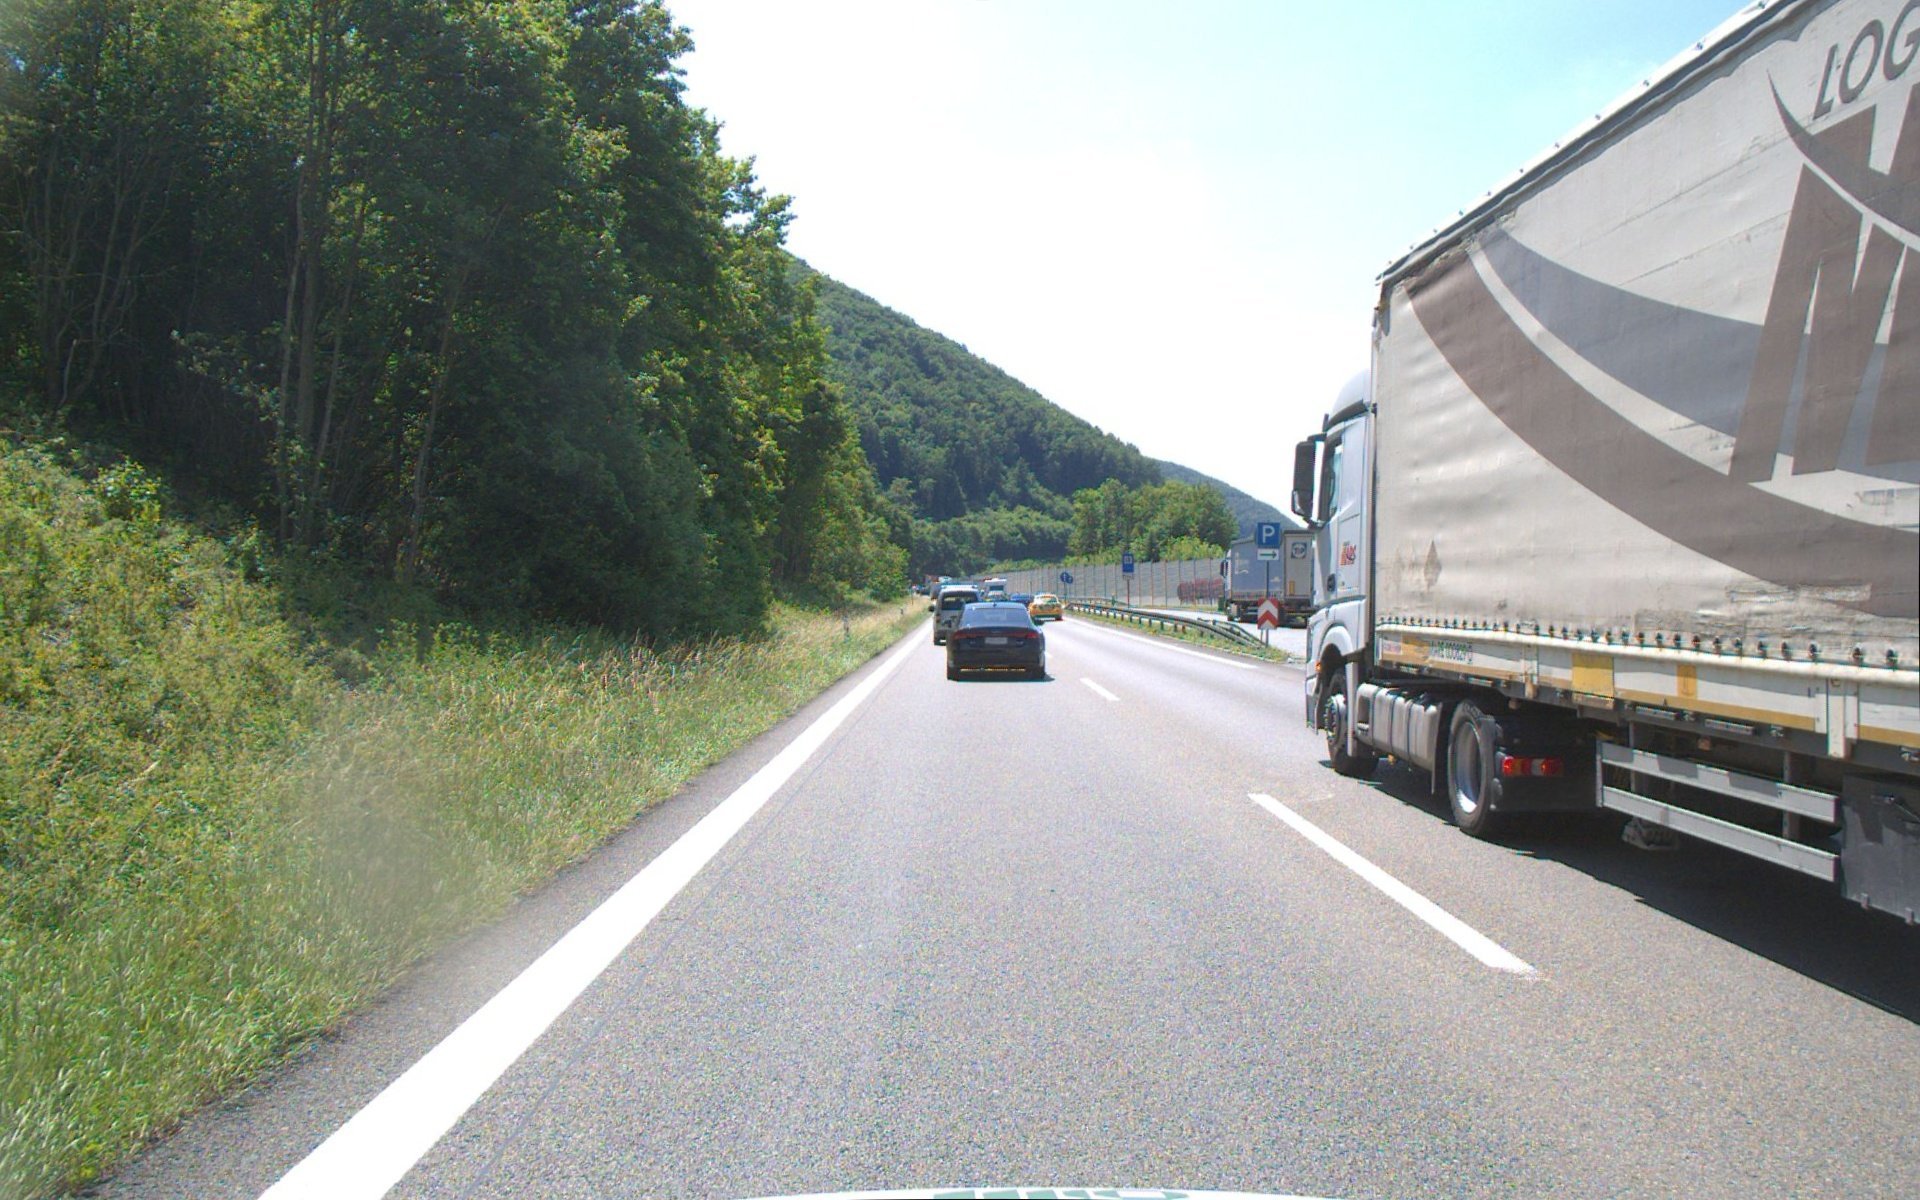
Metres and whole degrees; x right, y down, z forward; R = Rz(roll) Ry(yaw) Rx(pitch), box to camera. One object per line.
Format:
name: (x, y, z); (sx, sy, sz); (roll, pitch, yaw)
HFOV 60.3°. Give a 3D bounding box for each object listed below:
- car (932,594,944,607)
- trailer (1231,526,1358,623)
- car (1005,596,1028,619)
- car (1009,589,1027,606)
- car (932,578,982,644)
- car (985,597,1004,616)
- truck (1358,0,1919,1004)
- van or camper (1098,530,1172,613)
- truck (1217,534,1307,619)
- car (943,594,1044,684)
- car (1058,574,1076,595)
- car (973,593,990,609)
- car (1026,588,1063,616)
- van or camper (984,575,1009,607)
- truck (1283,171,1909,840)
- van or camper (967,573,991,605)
car: (-2.819, 0.066, 209.406); (1.458, 1.522, 3.590); (2, -1, 0)
trailer: (14.811, -1.089, 74.293); (3.342, 3.968, 11.150); (1, 0, 0)
car: (4.030, 0.532, 119.054); (1.498, 1.552, 3.596); (2, -1, 0)
car: (7.058, -0.319, 201.262); (1.953, 2.049, 3.999); (1, 0, -1)
car: (-0.120, 0.361, 54.491); (1.490, 2.002, 3.514); (3, 0, -1)
car: (2.991, 0.547, 142.327); (1.498, 1.552, 3.596); (2, -1, 0)
truck: (4.698, -0.628, 6.460); (2.671, 4.139, 13.737); (1, -1, -1)
van or camper: (8.770, -1.376, 83.371); (2.738, 3.908, 6.164); (2, -1, -2)
truck: (14.748, -1.127, 81.118); (3.342, 3.968, 5.387); (1, 0, -1)
car: (0.601, 0.697, 31.513); (1.775, 1.541, 3.514); (-1, 1, 0)
car: (10.509, -1.517, 162.764); (1.544, 2.049, 3.428); (0, 0, 0)
car: (2.575, 0.163, 200.032); (1.953, 1.825, 3.999); (2, -1, -1)
car: (4.757, 0.116, 93.486); (1.840, 1.525, 4.000); (1, 0, 0)
van or camper: (3.800, -0.914, 173.008); (2.380, 3.210, 5.203); (2, -1, 0)
truck: (4.573, -0.567, 13.272); (2.664, 4.139, 5.753); (1, -1, -1)
van or camper: (2.524, -1.443, 218.590); (2.738, 3.975, 6.164); (2, -1, -2)
